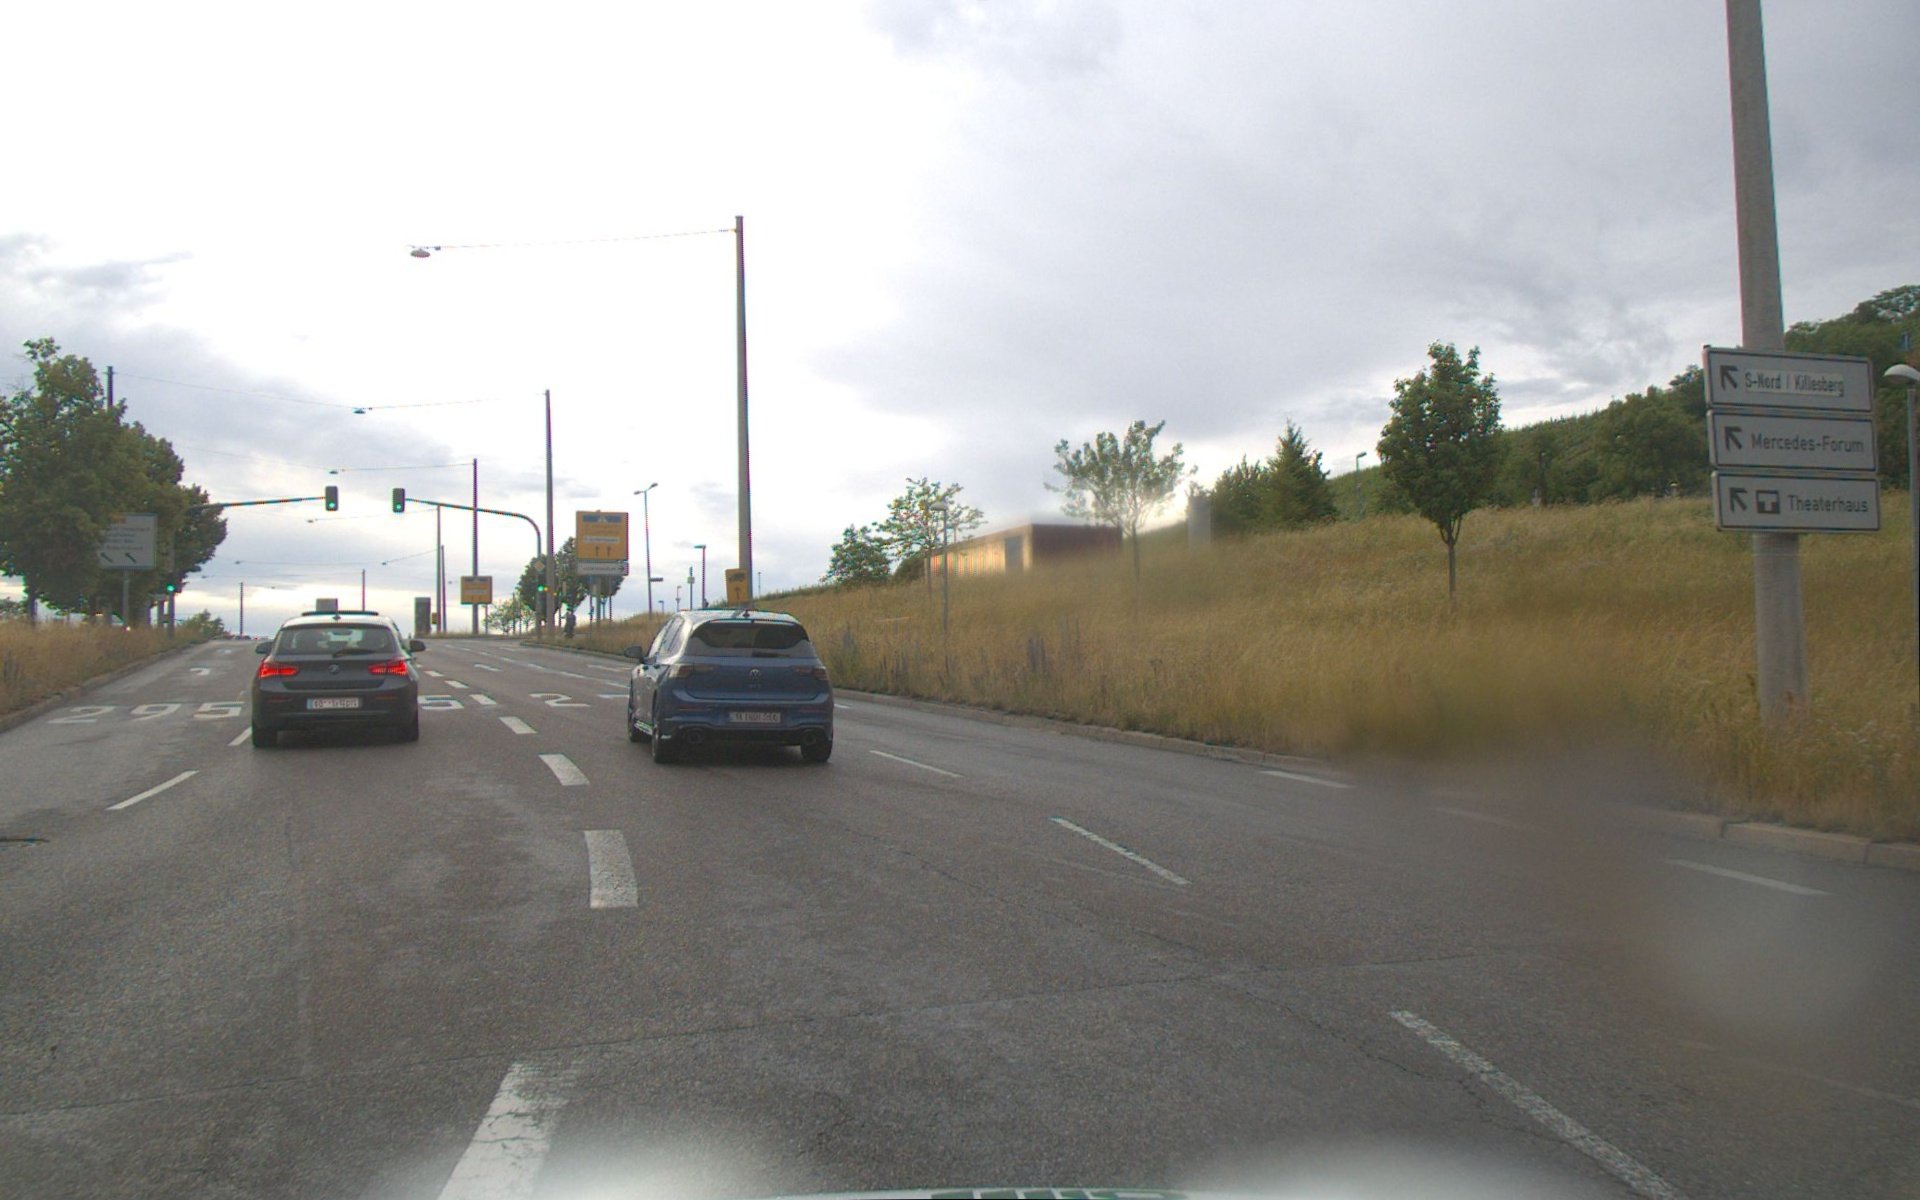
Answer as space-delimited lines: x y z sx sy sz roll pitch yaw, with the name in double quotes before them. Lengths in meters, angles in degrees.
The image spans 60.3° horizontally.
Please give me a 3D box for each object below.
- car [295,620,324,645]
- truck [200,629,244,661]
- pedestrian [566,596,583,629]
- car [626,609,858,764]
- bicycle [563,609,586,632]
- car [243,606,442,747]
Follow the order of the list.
"car" -43.863 2.198 111.550 1.697 1.568 3.680 3 -2 -21
"truck" -80.786 4.929 180.983 2.650 3.277 6.453 3 -5 -40
"pedestrian" -19.478 0.625 83.588 0.626 1.598 0.886 -1 1 -31
"car" -2.388 0.814 17.261 1.808 1.418 3.981 0 -1 -17
"bicycle" -19.470 1.029 83.577 0.626 1.124 1.735 0 1 -31
"car" -7.165 0.843 19.541 1.838 1.487 3.959 1 -1 -16
